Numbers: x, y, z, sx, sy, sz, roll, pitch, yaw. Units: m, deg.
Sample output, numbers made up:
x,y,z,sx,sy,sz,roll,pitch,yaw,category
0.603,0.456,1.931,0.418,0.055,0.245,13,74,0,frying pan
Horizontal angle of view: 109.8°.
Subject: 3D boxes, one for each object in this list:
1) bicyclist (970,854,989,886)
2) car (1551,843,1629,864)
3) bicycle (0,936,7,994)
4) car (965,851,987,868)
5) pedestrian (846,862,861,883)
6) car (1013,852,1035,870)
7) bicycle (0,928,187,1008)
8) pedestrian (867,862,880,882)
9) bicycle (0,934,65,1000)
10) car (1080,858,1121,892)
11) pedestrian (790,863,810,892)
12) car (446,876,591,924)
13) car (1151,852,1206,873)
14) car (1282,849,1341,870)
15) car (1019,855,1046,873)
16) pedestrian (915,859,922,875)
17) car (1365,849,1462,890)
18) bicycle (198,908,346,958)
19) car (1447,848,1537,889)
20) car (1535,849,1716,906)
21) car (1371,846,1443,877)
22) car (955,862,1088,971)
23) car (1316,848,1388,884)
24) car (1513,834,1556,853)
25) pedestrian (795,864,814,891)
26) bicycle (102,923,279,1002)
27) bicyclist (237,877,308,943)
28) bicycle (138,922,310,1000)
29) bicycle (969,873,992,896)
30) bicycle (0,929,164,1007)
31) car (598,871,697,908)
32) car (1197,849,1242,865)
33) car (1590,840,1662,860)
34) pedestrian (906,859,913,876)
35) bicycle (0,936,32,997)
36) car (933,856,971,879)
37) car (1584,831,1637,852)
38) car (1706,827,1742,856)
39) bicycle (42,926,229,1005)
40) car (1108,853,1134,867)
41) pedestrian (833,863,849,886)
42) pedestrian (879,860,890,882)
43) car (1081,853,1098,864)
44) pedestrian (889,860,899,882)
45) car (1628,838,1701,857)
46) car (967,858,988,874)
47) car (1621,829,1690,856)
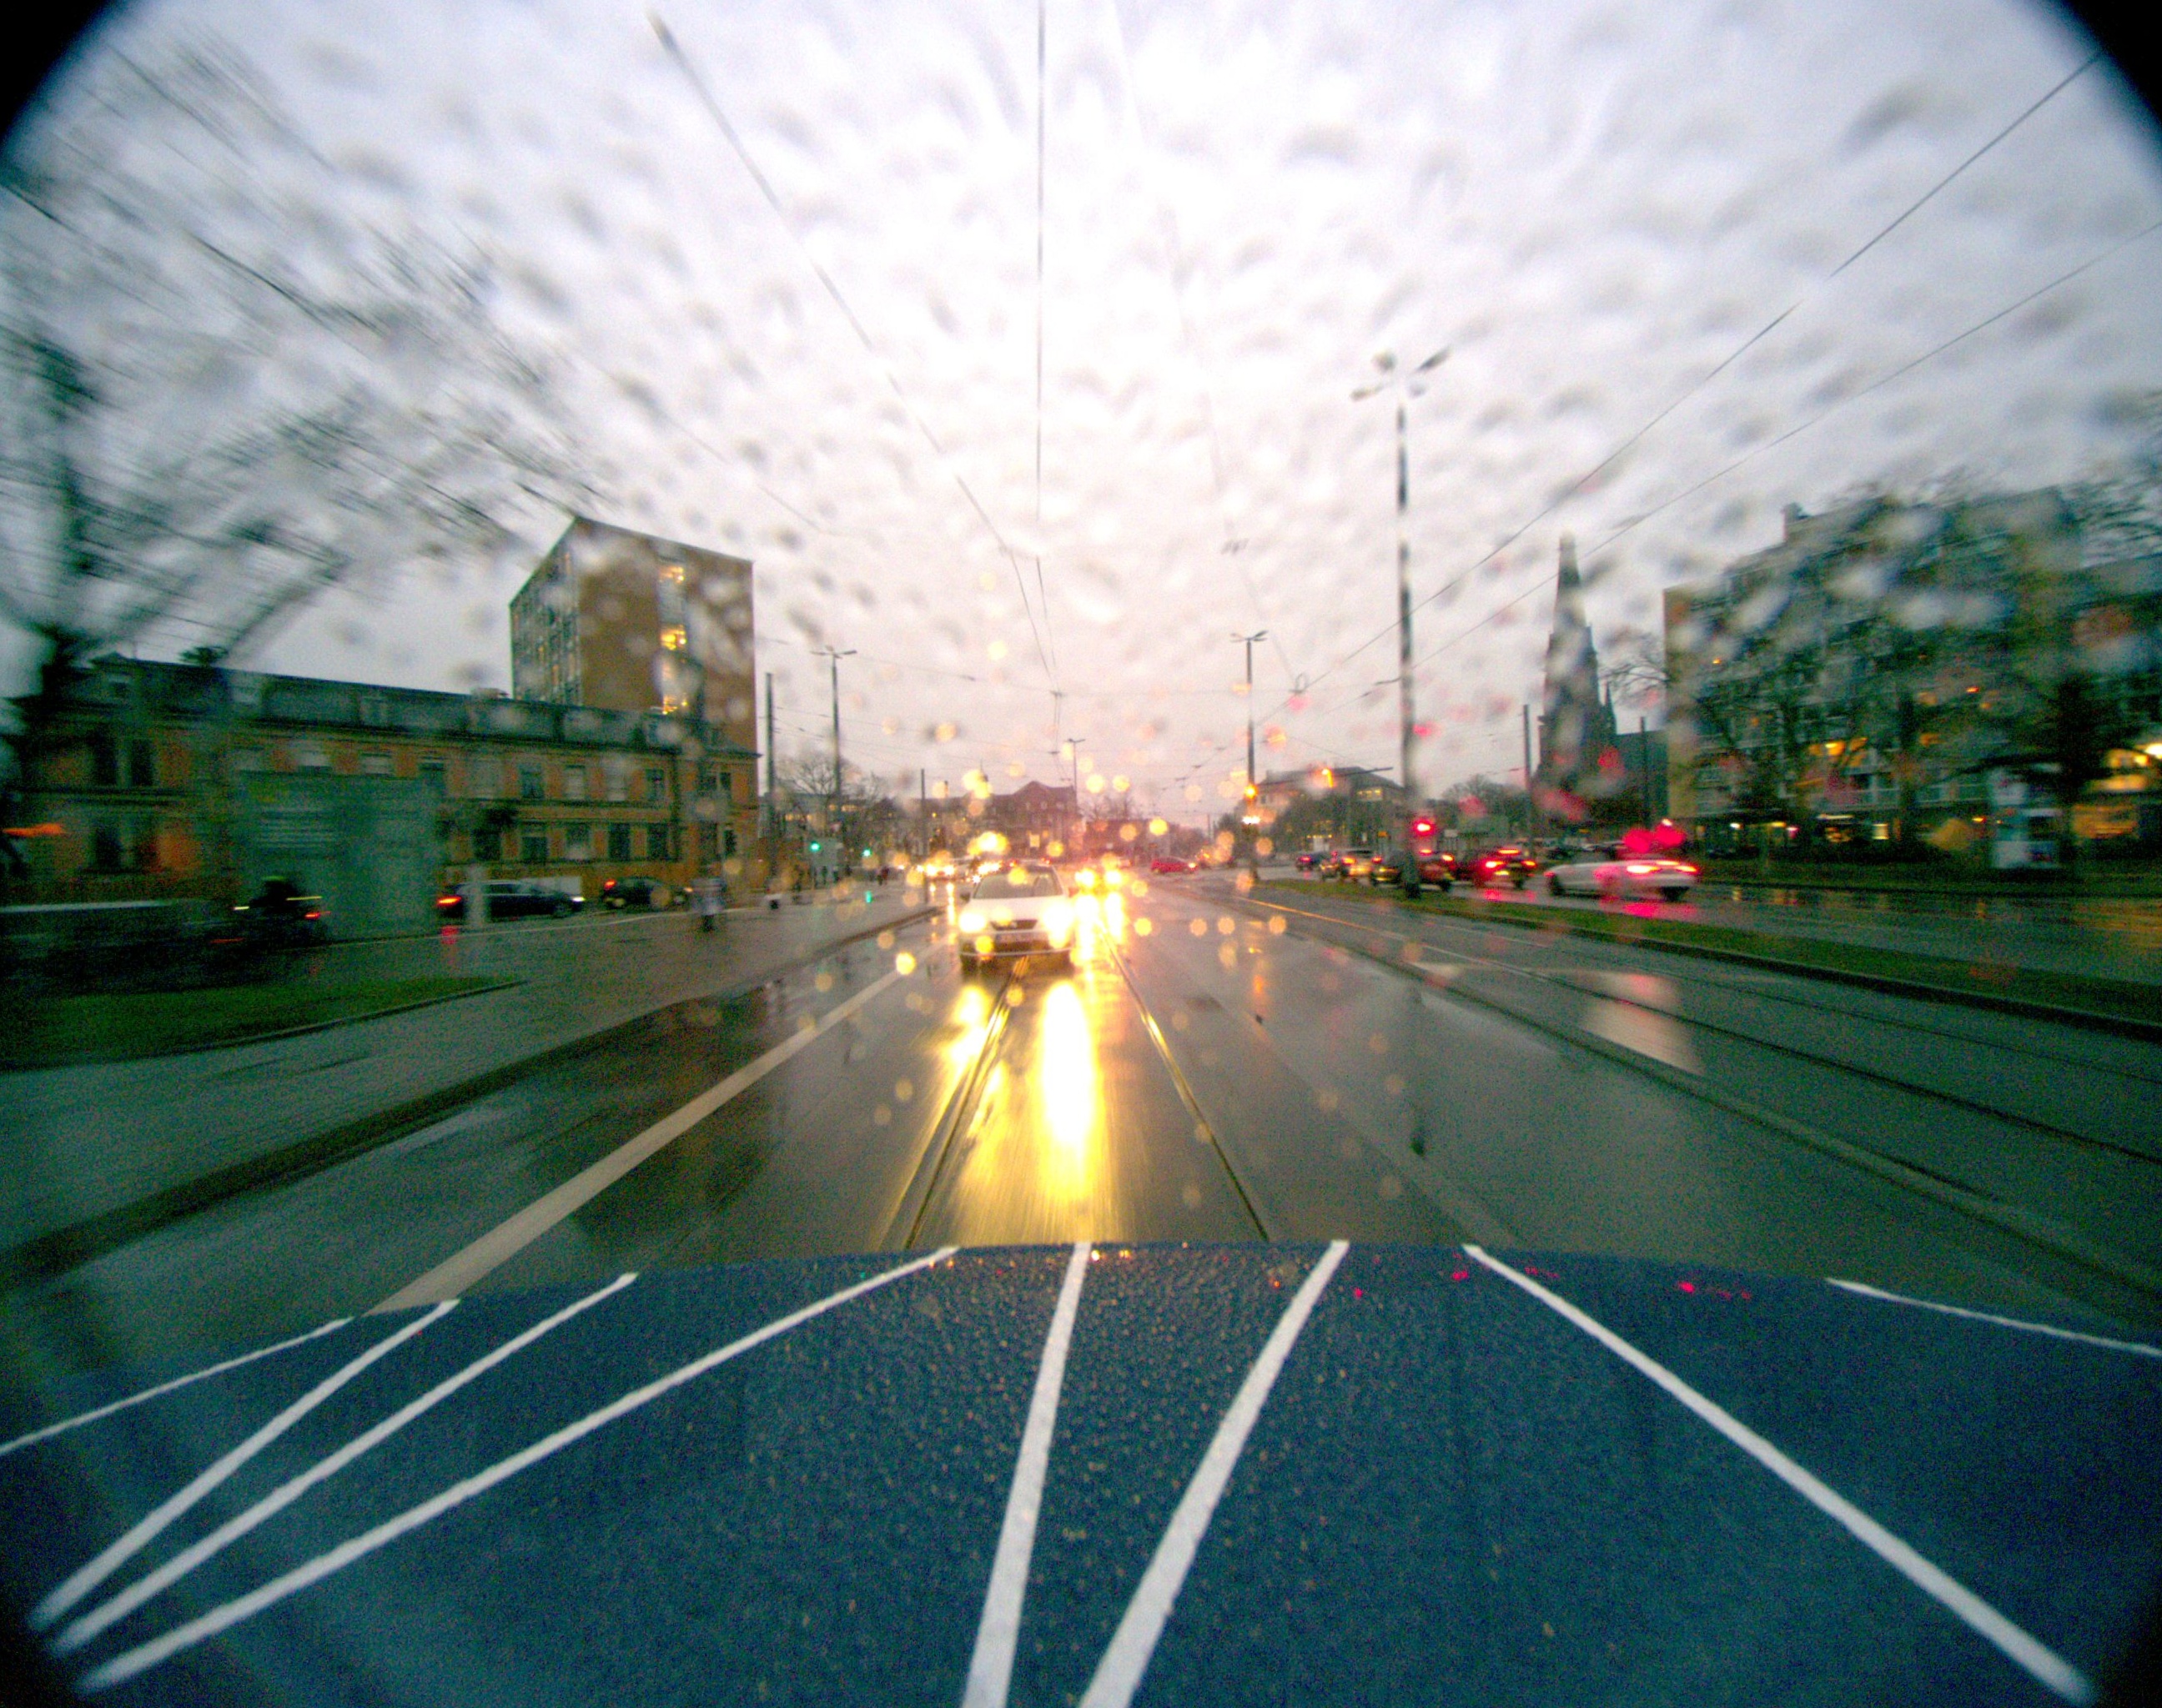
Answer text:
x,y,z,sx,sy,sz,roll,pitch,yaw,category
-4.919,0.777,36.946,0.727,1.525,0.785,-2,1,2,bicyclist
35.208,-0.005,52.627,2.003,1.302,3.989,-3,1,-37,car
-18.059,1.844,11.615,0.455,0.948,1.944,-2,0,1,bicycle
-11.877,0.644,85.503,2.020,1.809,3.684,-3,1,-14,car
-17.997,1.421,60.038,0.881,1.610,0.747,-2,1,-34,pedestrian
-6.686,0.773,88.852,2.000,2.002,5.547,-3,1,-10,car
-15.294,1.726,11.799,0.455,0.948,1.944,-2,0,1,bicycle
-17.033,1.495,62.337,0.710,1.610,0.747,-2,1,-34,pedestrian
-16.999,1.800,11.545,0.455,0.948,1.944,-2,0,1,bicycle
0.889,0.938,35.854,1.797,1.415,4.000,-2,0,1,car
-16.017,1.346,43.294,0.821,1.610,0.747,-2,1,-33,pedestrian
-22.288,1.759,30.207,4.396,1.579,1.885,-2,1,-43,car
8.109,0.718,63.176,4.085,1.521,2.003,-2,1,28,car
18.956,0.446,62.656,4.265,1.559,1.823,-2,0,-11,car
-4.515,0.907,69.938,1.826,1.565,3.995,-2,0,-13,car
-17.135,1.377,80.327,0.638,1.752,0.510,-2,1,-13,pedestrian
11.991,0.527,27.663,1.876,1.382,4.000,0,0,2,car
-18.557,1.783,17.511,2.245,0.901,0.598,-2,1,-39,bicycle
15.523,0.502,28.867,1.604,1.410,3.471,-2,0,2,car
15.423,0.592,21.892,1.998,1.413,4.588,-2,0,2,car
15.603,0.348,36.577,1.728,1.350,4.000,-2,0,1,car
-0.816,0.901,12.685,1.797,1.415,4.000,-2,0,1,car
12.240,0.486,34.582,1.904,1.477,4.000,-2,0,1,car
46.758,-1.101,78.296,4.574,1.783,1.821,-2,1,-31,car
-17.844,1.500,49.029,0.818,1.667,0.749,-2,1,9,pedestrian
-13.994,1.670,12.039,0.455,0.948,1.944,-2,0,1,bicycle
-18.585,1.260,17.492,1.009,1.434,0.590,-2,1,-39,bicyclist
-13.456,1.646,12.032,0.455,0.948,1.944,-2,0,1,bicycle
-4.886,1.455,36.972,0.725,0.985,2.212,-2,0,2,bicycle
-15.836,1.750,11.924,0.455,0.948,1.944,-2,0,1,bicycle
-20.449,1.633,35.882,3.755,1.393,1.614,-4,1,-41,car
14.155,0.312,77.519,3.989,1.543,2.004,-2,1,35,car
41.194,-0.300,57.515,2.003,1.302,3.989,-3,1,-37,car
-18.056,1.418,80.081,0.638,1.752,0.510,-2,1,-13,pedestrian
-17.530,1.824,11.537,0.455,0.948,1.944,-2,0,1,bicycle
-11.138,1.100,65.963,1.998,1.827,4.872,-2,0,4,car
52.822,-1.250,75.876,3.990,2.002,2.003,-2,1,25,car
48.775,-0.951,57.661,1.994,2.002,4.007,-2,1,41,car
-14.781,1.702,11.978,0.455,0.948,1.944,-2,0,1,bicycle
5.047,0.748,96.997,2.001,1.688,4.477,-2,0,-14,car
-17.577,1.519,55.732,0.881,1.610,0.747,-2,1,-34,pedestrian
-16.086,1.372,62.098,0.651,1.811,0.637,-2,1,-34,pedestrian
1.195,0.561,105.764,1.999,1.433,4.480,-2,0,-3,car
-15.225,1.371,61.944,0.511,1.752,0.637,-3,1,-34,pedestrian
44.312,-0.477,57.765,2.003,1.302,3.989,-3,1,-37,car
-10.270,1.151,75.343,1.829,1.499,3.800,-2,0,-10,car
46.685,-0.920,61.798,2.003,2.002,3.989,-3,1,-37,car
